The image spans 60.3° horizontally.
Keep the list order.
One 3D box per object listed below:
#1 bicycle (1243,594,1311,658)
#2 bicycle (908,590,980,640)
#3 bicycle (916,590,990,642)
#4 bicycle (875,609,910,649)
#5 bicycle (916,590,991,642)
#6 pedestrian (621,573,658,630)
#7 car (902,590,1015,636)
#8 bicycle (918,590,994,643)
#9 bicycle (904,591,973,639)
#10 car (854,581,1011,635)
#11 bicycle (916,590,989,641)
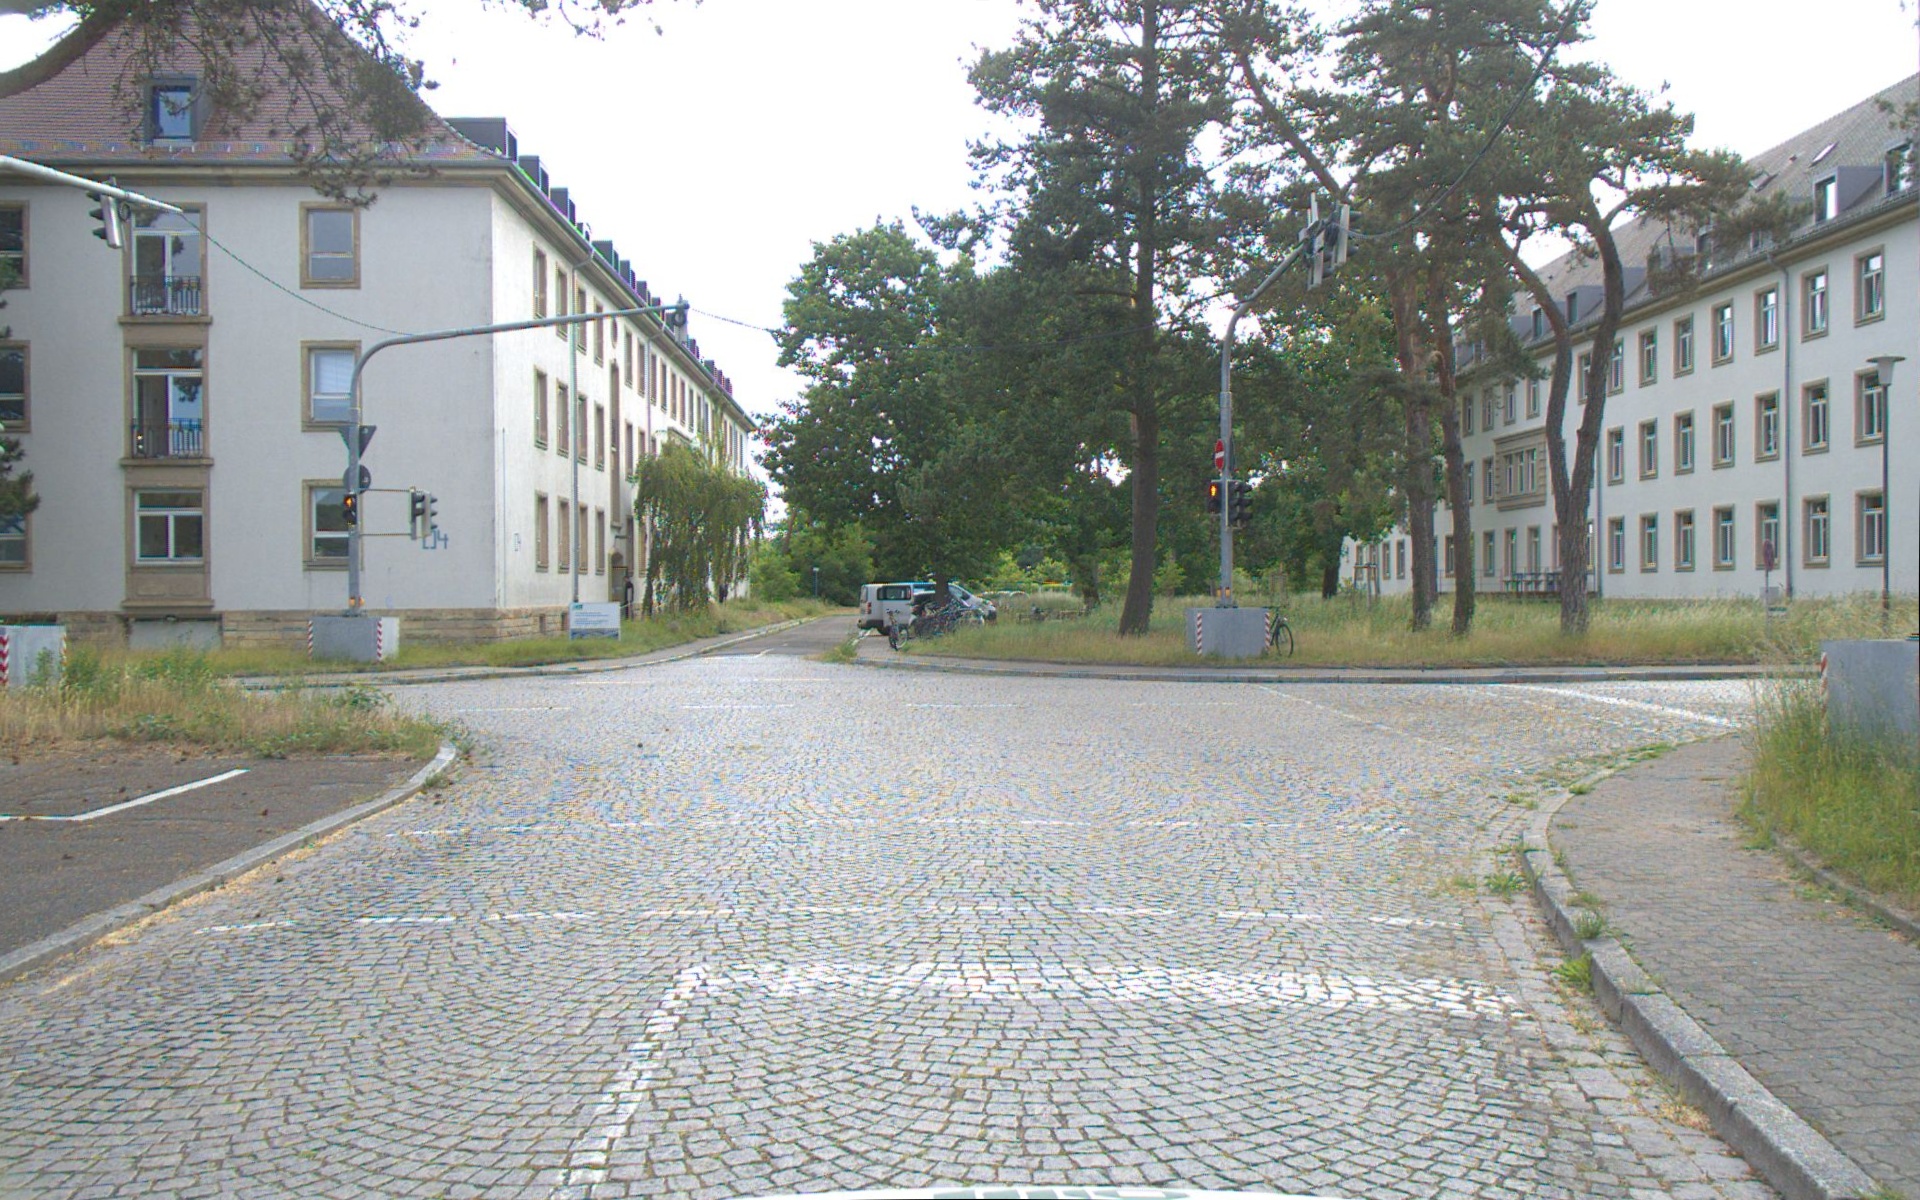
[{"bbox_3d":[6.178,0.495,32.348,0.890,1.197,1.873,0,0,-2],"label":"bicycle"},{"bbox_3d":[-0.456,0.431,47.325,2.028,1.402,0.620,0,0,-1],"label":"bicycle"},{"bbox_3d":[-0.198,0.433,45.736,2.028,1.402,0.620,0,0,-1],"label":"bicycle"},{"bbox_3d":[-1.728,0.728,42.600,0.605,0.980,2.078,0,0,5],"label":"bicycle"},{"bbox_3d":[-0.178,0.431,45.112,2.028,1.402,0.620,0,0,-1],"label":"bicycle"},{"bbox_3d":[-11.535,0.050,59.623,1.064,2.049,1.022,0,0,4],"label":"pedestrian"},{"bbox_3d":[-0.090,0.448,58.966,3.857,1.571,1.997,0,0,-6],"label":"car"},{"bbox_3d":[-0.117,0.431,44.443,2.028,1.402,0.620,0,0,-1],"label":"bicycle"},{"bbox_3d":[-0.631,0.434,48.805,2.028,1.402,0.620,0,0,-1],"label":"bicycle"},{"bbox_3d":[-1.058,0.292,62.310,5.595,1.944,2.222,-1,0,-14],"label":"car"},{"bbox_3d":[-0.212,0.436,46.533,2.028,1.402,0.620,0,0,-1],"label":"bicycle"}]
